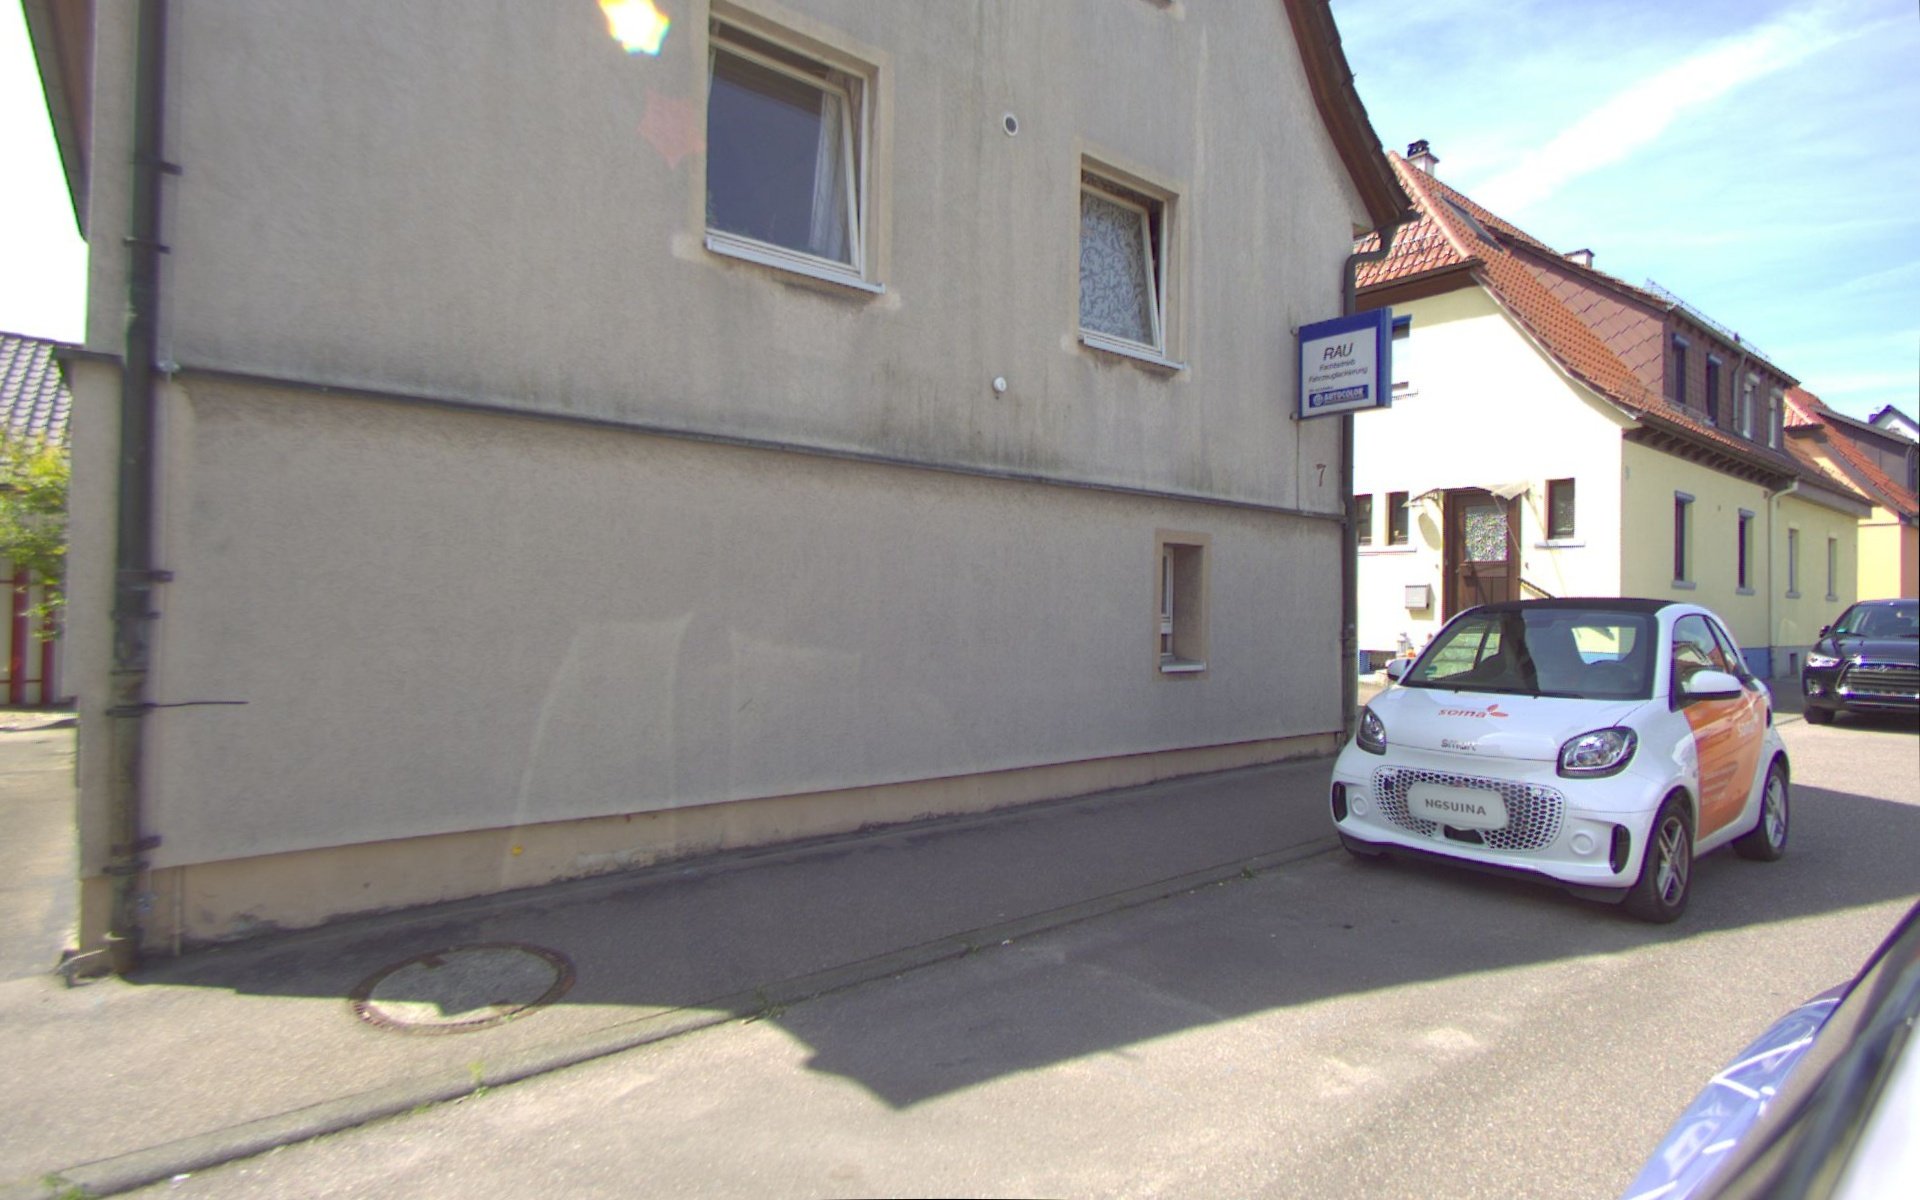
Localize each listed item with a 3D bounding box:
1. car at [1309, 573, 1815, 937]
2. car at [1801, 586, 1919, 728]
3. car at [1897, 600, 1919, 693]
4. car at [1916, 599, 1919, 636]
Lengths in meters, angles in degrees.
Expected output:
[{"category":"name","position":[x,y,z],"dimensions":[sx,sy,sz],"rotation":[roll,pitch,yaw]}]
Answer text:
[{"category":"car","position":[3.646,0.671,6.005],"dimensions":[2.986,1.578,1.677],"rotation":[0,0,-40]},{"category":"car","position":[12.471,0.657,12.995],"dimensions":[4.175,1.620,1.732],"rotation":[0,-1,-38]},{"category":"car","position":[16.782,0.729,16.589],"dimensions":[3.687,1.449,1.614],"rotation":[0,-1,-40]},{"category":"car","position":[46.050,0.795,45.340],"dimensions":[1.811,1.674,4.311],"rotation":[0,-1,-30]}]
